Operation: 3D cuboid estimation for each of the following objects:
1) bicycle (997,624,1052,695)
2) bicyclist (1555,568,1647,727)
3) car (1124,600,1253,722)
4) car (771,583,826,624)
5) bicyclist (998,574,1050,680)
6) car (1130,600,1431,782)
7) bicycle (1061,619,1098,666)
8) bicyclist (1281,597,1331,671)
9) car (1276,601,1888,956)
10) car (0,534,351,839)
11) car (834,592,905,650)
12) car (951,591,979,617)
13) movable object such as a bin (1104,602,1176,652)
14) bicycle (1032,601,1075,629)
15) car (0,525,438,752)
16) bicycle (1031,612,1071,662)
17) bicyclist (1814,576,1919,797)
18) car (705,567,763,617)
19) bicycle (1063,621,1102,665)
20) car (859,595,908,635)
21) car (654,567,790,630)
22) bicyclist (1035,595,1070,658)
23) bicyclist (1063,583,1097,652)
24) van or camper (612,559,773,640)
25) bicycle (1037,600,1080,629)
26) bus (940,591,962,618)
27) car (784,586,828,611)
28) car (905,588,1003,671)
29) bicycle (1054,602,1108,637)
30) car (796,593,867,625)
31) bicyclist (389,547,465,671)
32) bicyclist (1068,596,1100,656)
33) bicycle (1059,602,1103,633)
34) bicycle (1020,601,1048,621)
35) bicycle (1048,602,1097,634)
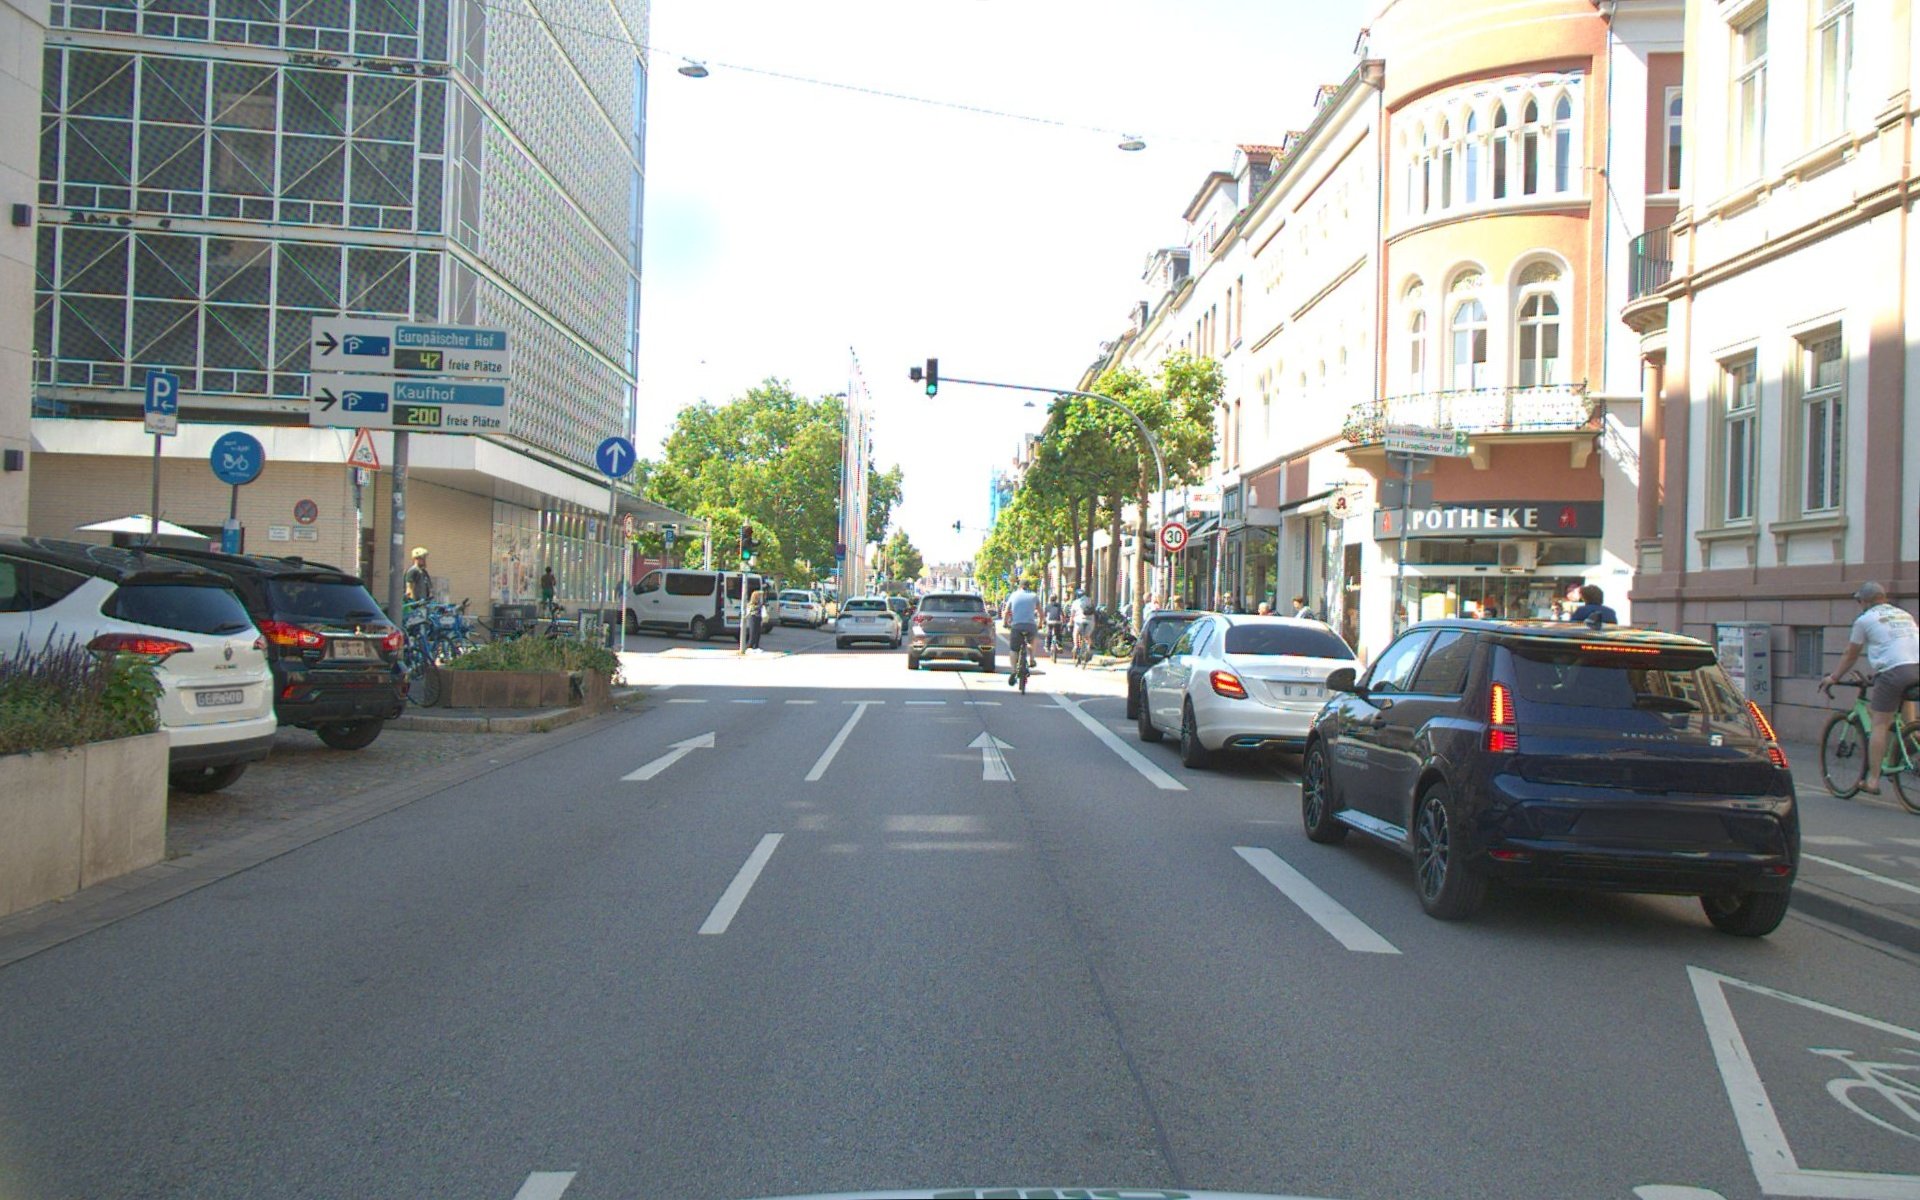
[{"bbox_3d":[1.012,0.930,26.542,0.758,1.023,2.329,1,0,0],"label":"bicycle"},{"bbox_3d":[7.047,0.515,18.210,0.716,1.703,0.774,1,0,0],"label":"bicyclist"},{"bbox_3d":[3.208,0.824,23.174,1.594,1.504,3.734,2,-1,8],"label":"car"},{"bbox_3d":[-6.557,0.108,67.467,1.762,1.549,4.738,3,1,0],"label":"car"},{"bbox_3d":[1.021,0.423,26.525,0.758,1.664,0.851,1,0,0],"label":"bicyclist"},{"bbox_3d":[3.041,0.791,16.841,1.913,1.449,4.884,3,0,-2],"label":"car"},{"bbox_3d":[2.694,0.949,37.370,0.617,0.997,2.088,1,0,-1],"label":"bicycle"},{"bbox_3d":[6.795,0.663,32.492,0.841,1.436,0.501,1,0,0],"label":"bicyclist"},{"bbox_3d":[3.296,0.851,9.800,1.848,1.517,4.289,4,-1,-2],"label":"car"},{"bbox_3d":[-6.602,0.400,11.110,4.071,1.665,2.104,5,0,8],"label":"car"},{"bbox_3d":[-2.545,0.568,47.509,1.808,1.587,4.000,1,0,0],"label":"car"},{"bbox_3d":[0.351,0.265,116.826,1.808,1.697,3.999,3,0,-1],"label":"car"},{"bbox_3d":[4.906,0.728,44.975,1.812,1.209,0.653,4,0,15],"label":"movable object such as a bin"},{"bbox_3d":[4.217,0.668,74.573,1.801,1.146,0.498,3,0,10],"label":"bicycle"},{"bbox_3d":[-6.872,0.282,14.515,3.940,1.630,1.958,4,-1,22],"label":"car"},{"bbox_3d":[2.203,0.880,40.205,0.684,1.146,2.080,3,0,-4],"label":"bicycle"},{"bbox_3d":[7.422,0.657,13.258,0.559,1.690,1.159,0,1,1],"label":"bicyclist"},{"bbox_3d":[-9.637,-0.340,70.898,1.795,2.049,4.685,2,0,0],"label":"car"},{"bbox_3d":[2.960,1.019,39.979,0.588,0.942,2.086,4,1,-4],"label":"bicycle"},{"bbox_3d":[-2.966,0.560,64.939,1.808,1.474,3.999,1,0,-1],"label":"car"},{"bbox_3d":[-8.063,-0.055,55.945,4.358,1.943,2.002,2,1,36],"label":"car"},{"bbox_3d":[2.233,0.626,39.974,0.684,1.466,0.790,3,0,-4],"label":"bicyclist"},{"bbox_3d":[2.705,0.390,37.378,0.617,1.507,1.198,1,0,-1],"label":"bicyclist"},{"bbox_3d":[-7.737,-0.041,47.705,4.573,2.048,1.990,4,1,39],"label":"van or camper"},{"bbox_3d":[4.390,0.632,73.509,1.801,1.218,0.674,2,0,7],"label":"bicycle"},{"bbox_3d":[-1.371,0.710,239.169,2.934,3.657,11.741,2,-1,-1],"label":"bus"},{"bbox_3d":[-13.057,-0.144,140.742,1.821,1.989,4.761,2,-1,20],"label":"car"},{"bbox_3d":[-0.182,0.557,33.979,1.809,1.586,3.998,1,0,-3],"label":"car"},{"bbox_3d":[4.460,0.717,61.030,1.807,1.146,0.631,4,-1,-11],"label":"bicycle"},{"bbox_3d":[-7.286,0.504,94.313,1.854,1.568,4.858,3,3,26],"label":"car"},{"bbox_3d":[-8.814,0.153,27.388,0.824,1.994,1.017,1,0,5],"label":"bicyclist"},{"bbox_3d":[2.991,0.620,39.972,0.588,1.381,0.720,4,0,-4],"label":"bicyclist"},{"bbox_3d":[4.916,0.713,67.155,1.754,1.218,0.572,2,0,-28],"label":"bicycle"},{"bbox_3d":[4.378,0.634,97.389,1.615,1.114,0.607,2,0,2],"label":"bicycle"},{"bbox_3d":[4.460,0.714,65.485,1.806,1.146,0.496,4,1,-9],"label":"bicycle"}]
